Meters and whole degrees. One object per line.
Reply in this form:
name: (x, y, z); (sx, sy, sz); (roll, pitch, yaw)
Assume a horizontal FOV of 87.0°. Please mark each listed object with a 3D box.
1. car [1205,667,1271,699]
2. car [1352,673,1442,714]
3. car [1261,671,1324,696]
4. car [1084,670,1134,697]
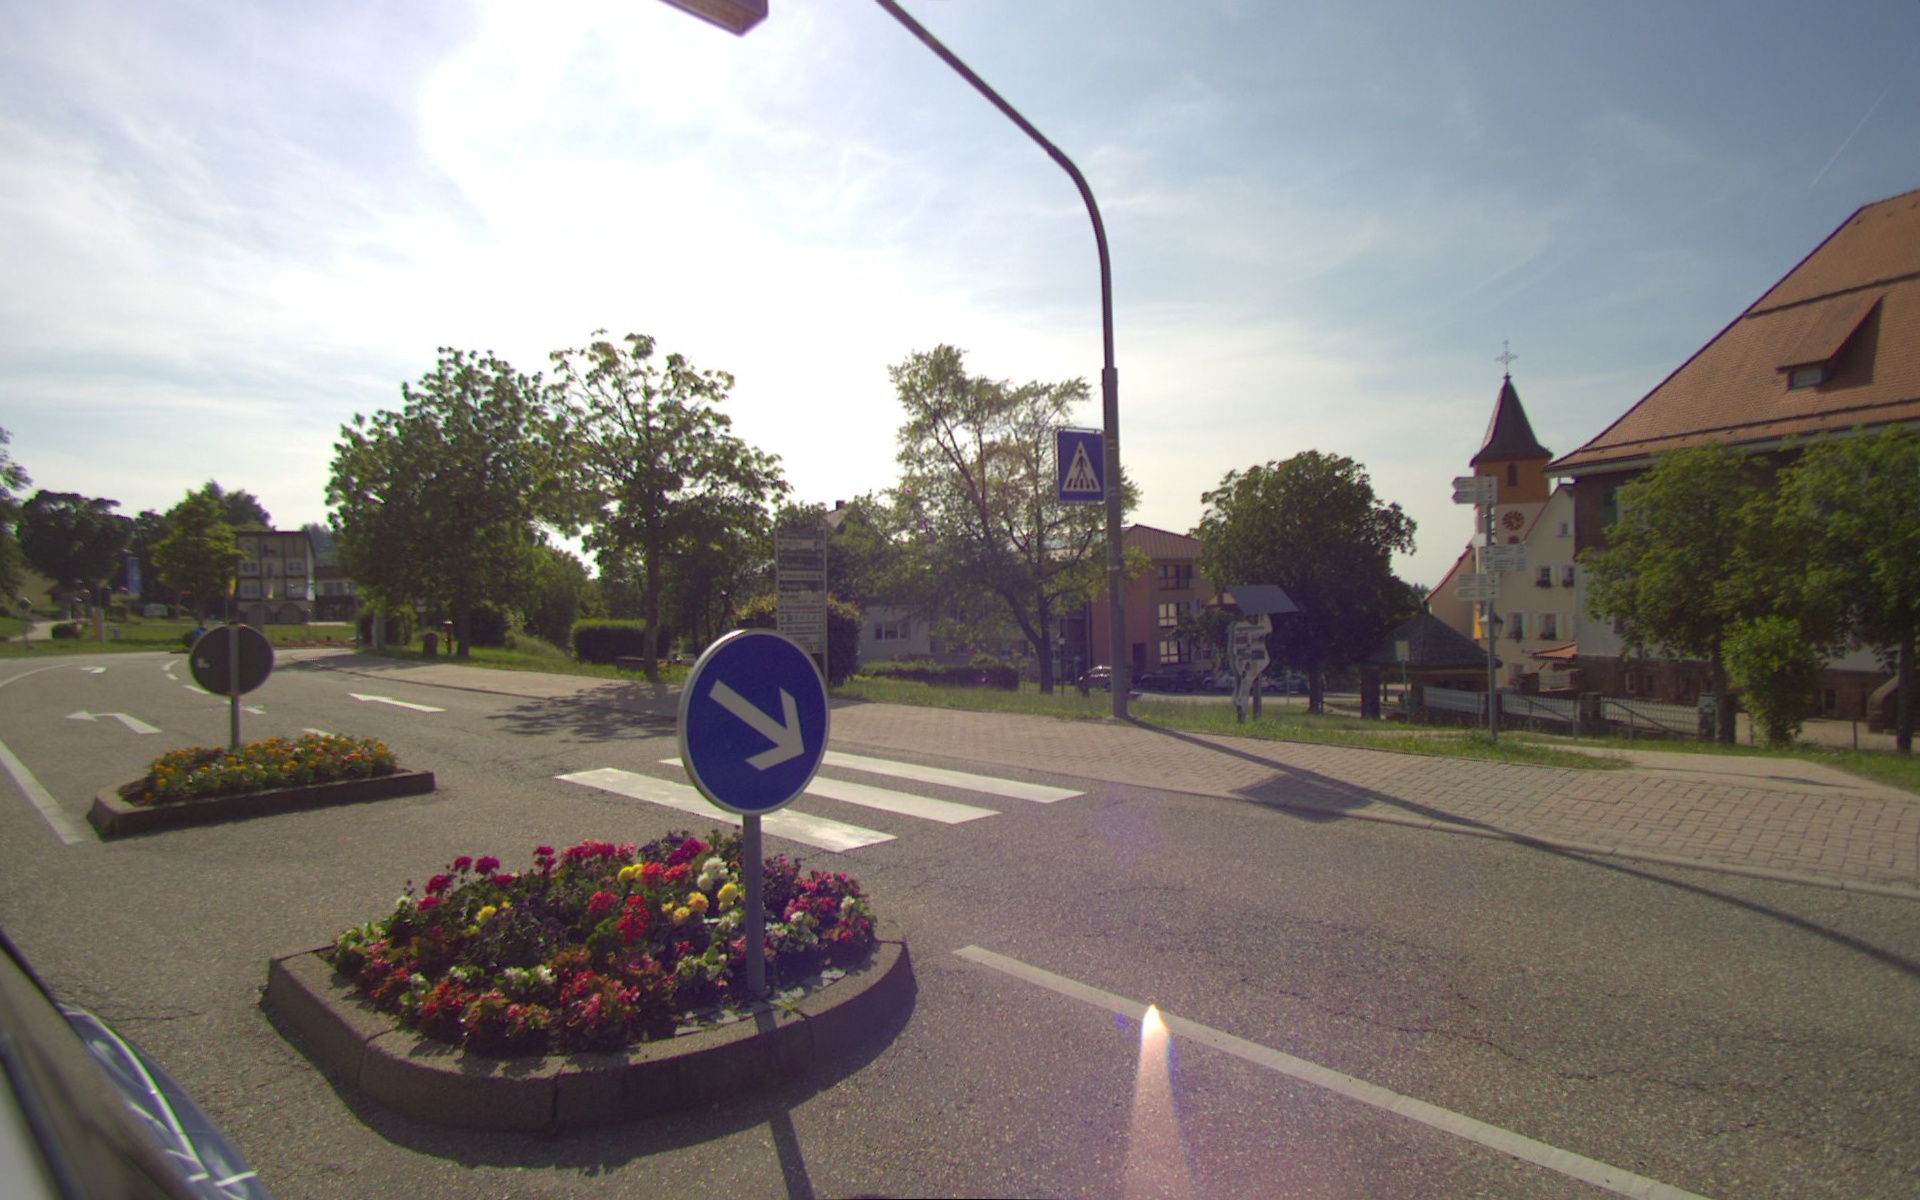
car: (19.017, 5.669, 69.398); (1.967, 2.029, 4.009); (3, -3, -36)
car: (18.512, 3.935, 43.045); (1.551, 1.478, 3.513); (1, -2, -19)
car: (24.378, 6.112, 74.364); (1.967, 1.676, 4.009); (3, -3, -36)
car: (9.499, 5.313, 64.648); (1.542, 1.652, 2.978); (1, -3, -35)
